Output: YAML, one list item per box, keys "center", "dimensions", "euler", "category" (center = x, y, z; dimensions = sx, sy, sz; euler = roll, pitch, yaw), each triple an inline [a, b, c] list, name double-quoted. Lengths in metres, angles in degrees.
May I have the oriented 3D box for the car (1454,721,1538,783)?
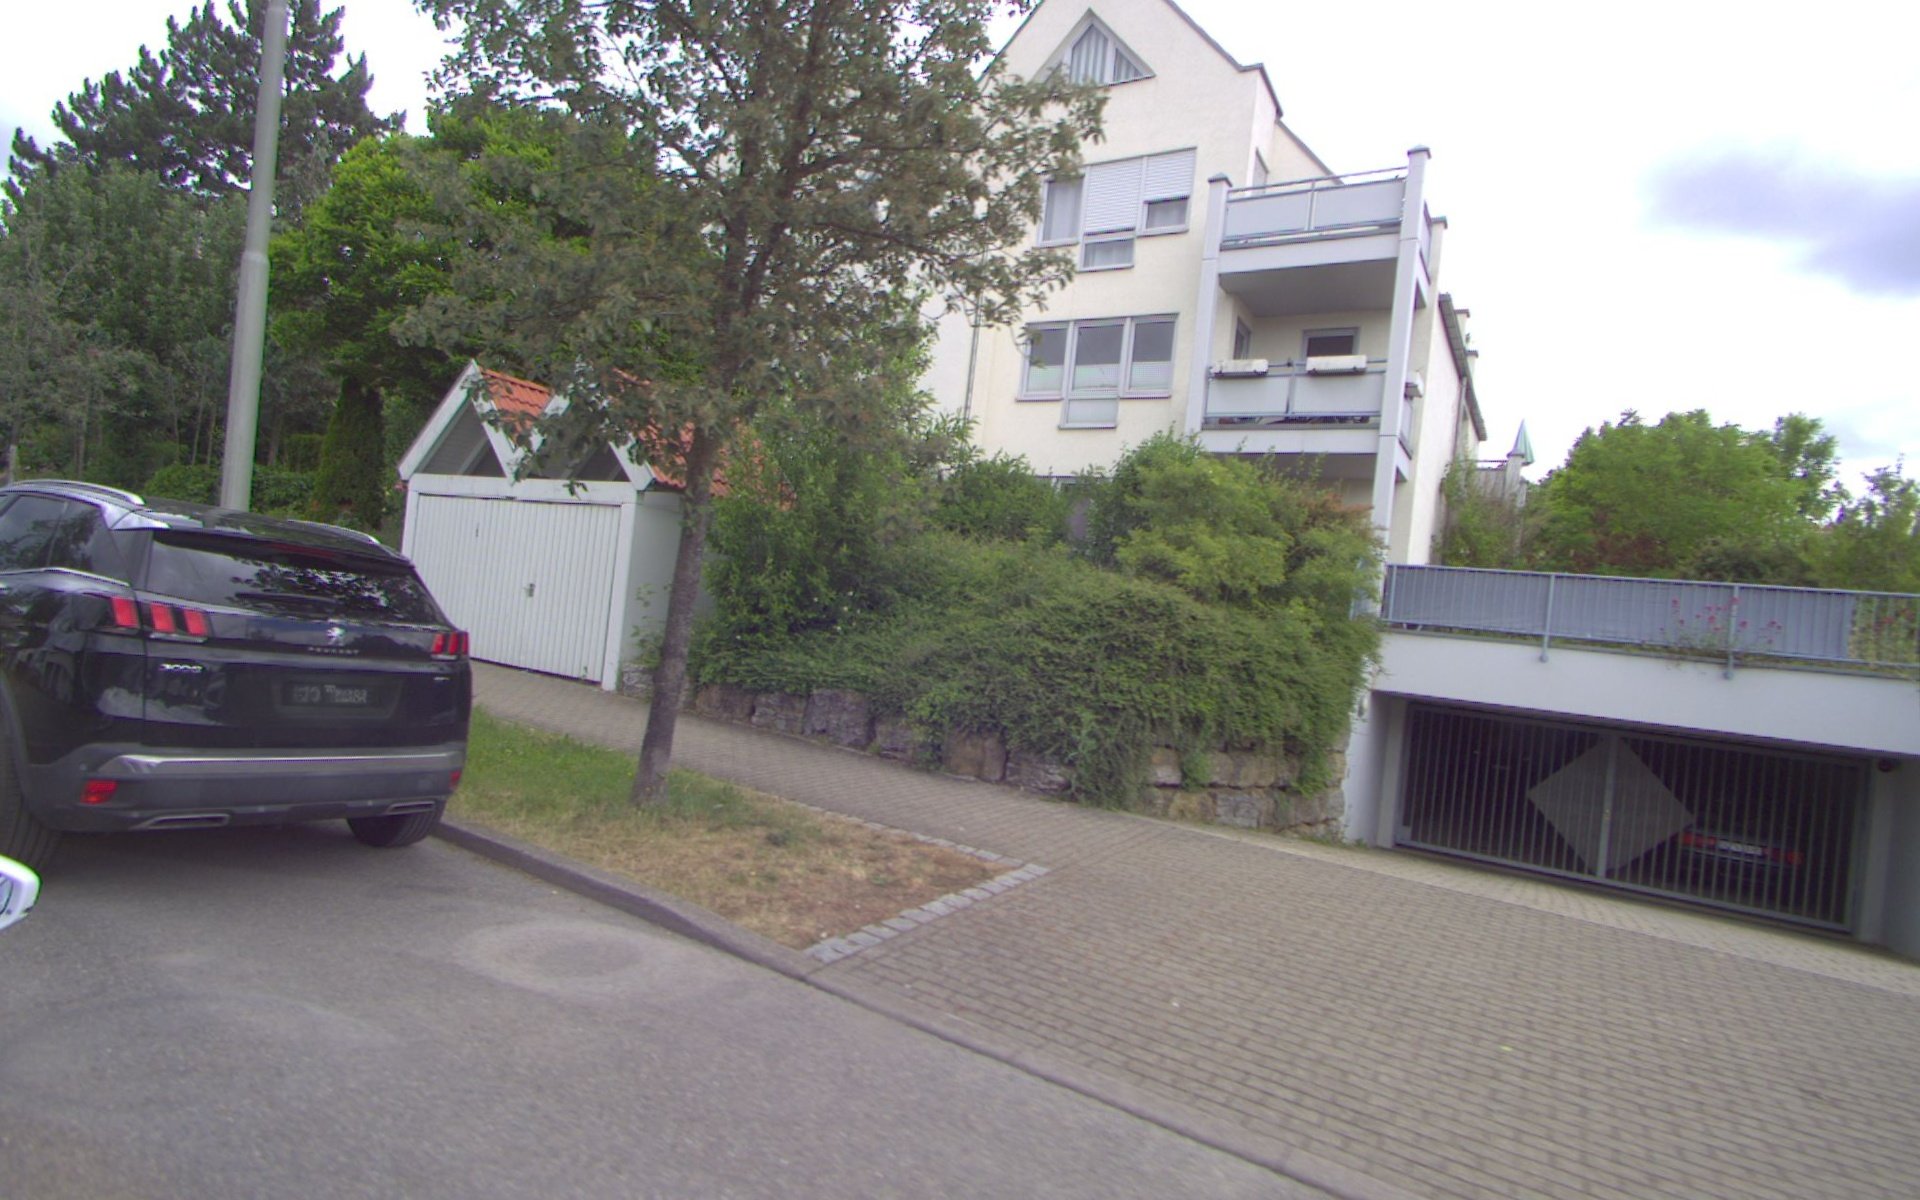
- center: [16.667, 4.660, 31.193]
  dimensions: [1.967, 1.496, 3.996]
  euler: [6, -3, 32]
  category: "car"

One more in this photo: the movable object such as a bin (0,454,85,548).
- center: [-23.553, -2.523, 24.906]
  dimensions: [1.319, 2.036, 2.318]
  euler: [7, -2, 26]
  category: "movable object such as a bin"

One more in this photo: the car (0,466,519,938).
- center: [-4.414, 0.263, 5.278]
  dimensions: [4.041, 1.627, 1.692]
  euler: [7, -2, 31]
  category: "car"

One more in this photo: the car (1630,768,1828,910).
- center: [12.139, 3.682, 16.157]
  dimensions: [1.967, 1.496, 3.996]
  euler: [6, -3, 32]
  category: "car"
